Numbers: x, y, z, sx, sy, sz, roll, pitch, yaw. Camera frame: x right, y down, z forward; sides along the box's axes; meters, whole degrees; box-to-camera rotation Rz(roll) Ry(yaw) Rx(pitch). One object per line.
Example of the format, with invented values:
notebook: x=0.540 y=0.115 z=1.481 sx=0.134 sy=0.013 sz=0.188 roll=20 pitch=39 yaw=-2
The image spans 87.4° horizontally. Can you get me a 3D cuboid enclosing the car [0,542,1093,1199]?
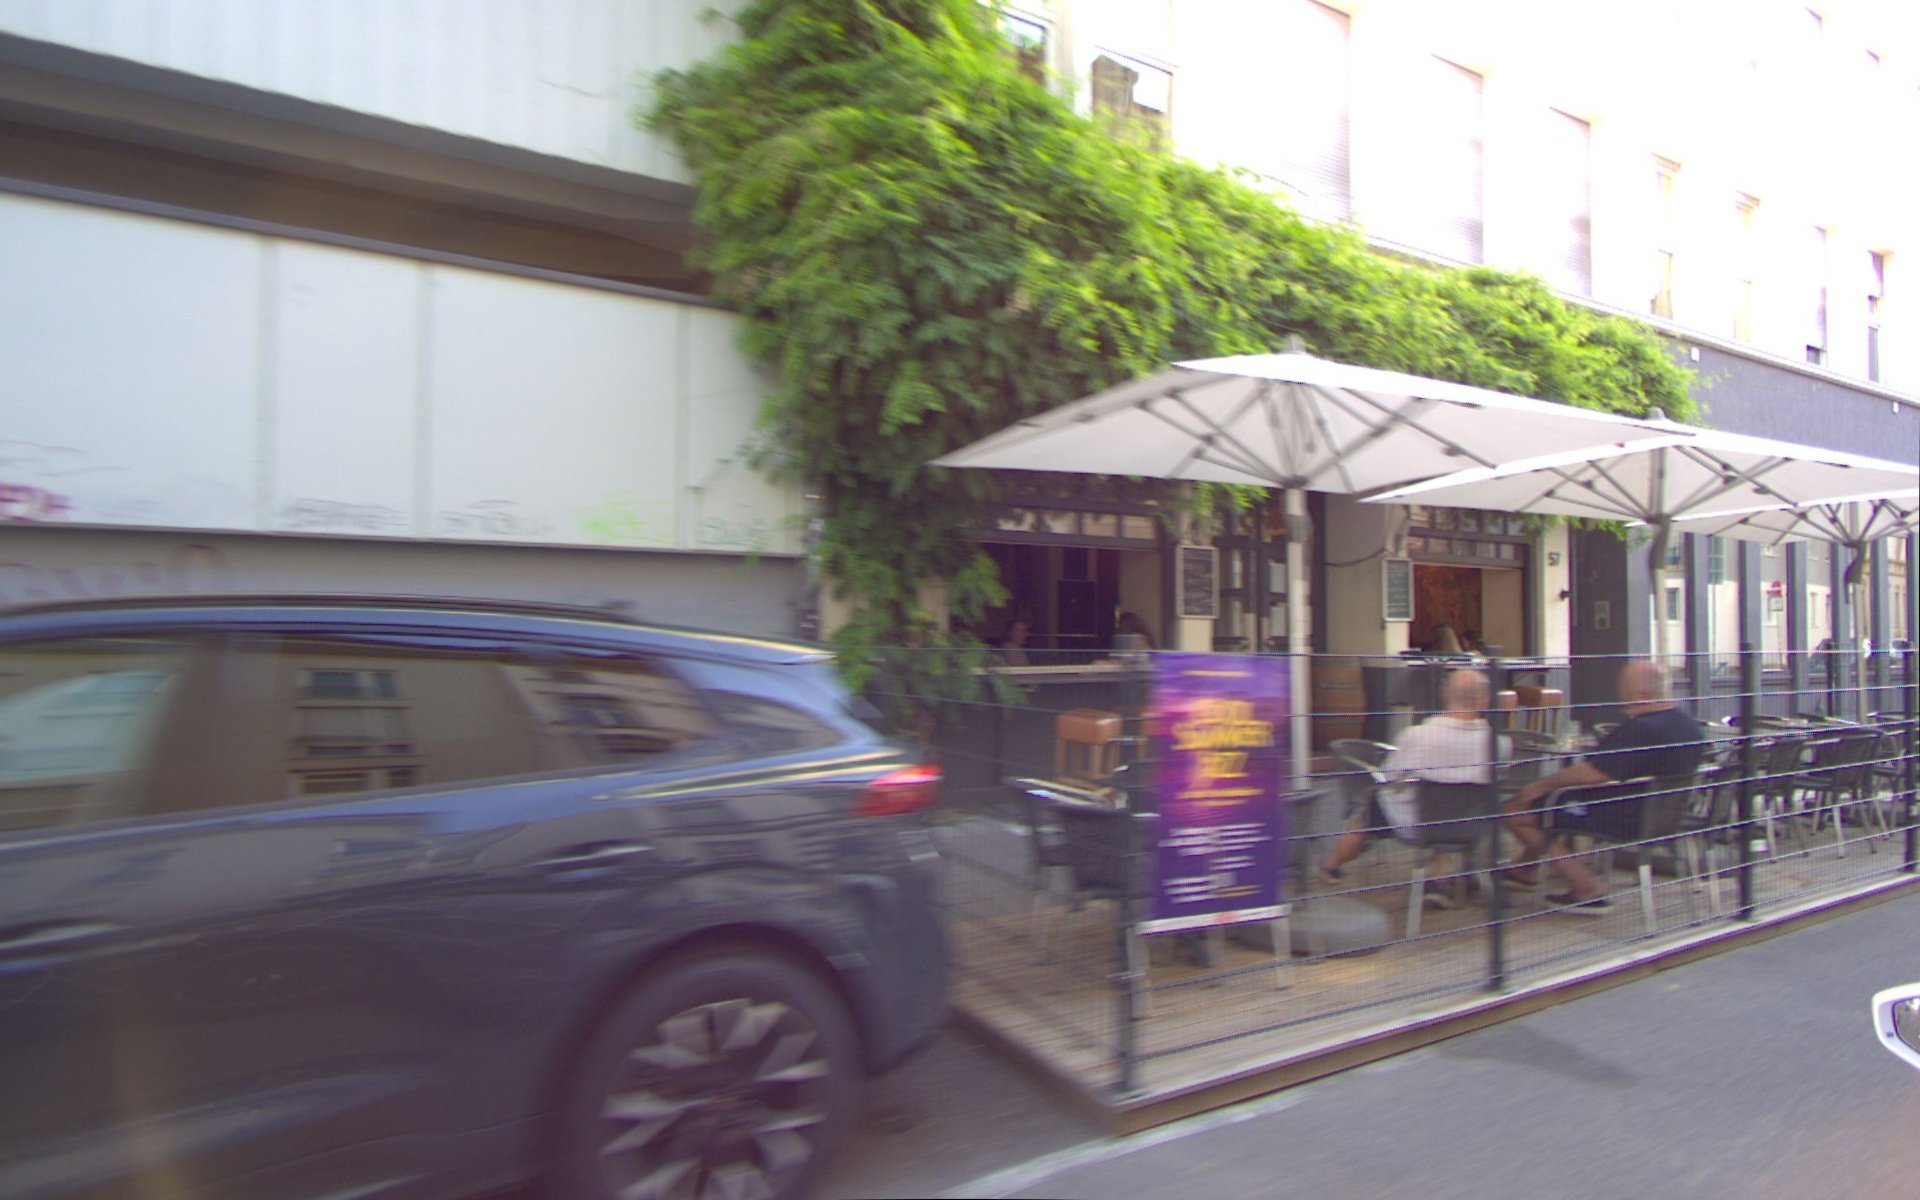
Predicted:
car: x=-2.111 y=0.758 z=2.490 sx=4.717 sy=1.588 sz=1.872 roll=1 pitch=-4 yaw=-32

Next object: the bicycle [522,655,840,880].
bicycle: x=-1.680 y=0.942 z=6.133 sx=1.772 sy=1.175 sz=0.640 roll=1 pitch=-1 yaw=-29

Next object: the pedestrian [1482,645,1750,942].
pedestrian: x=3.262 y=0.881 z=5.023 sx=0.904 sy=1.304 sz=0.778 roll=1 pitch=-2 yaw=-29

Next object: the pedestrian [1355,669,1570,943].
pedestrian: x=2.322 y=0.924 z=4.707 sx=0.726 sy=1.181 sz=0.554 roll=0 pitch=-2 yaw=3
